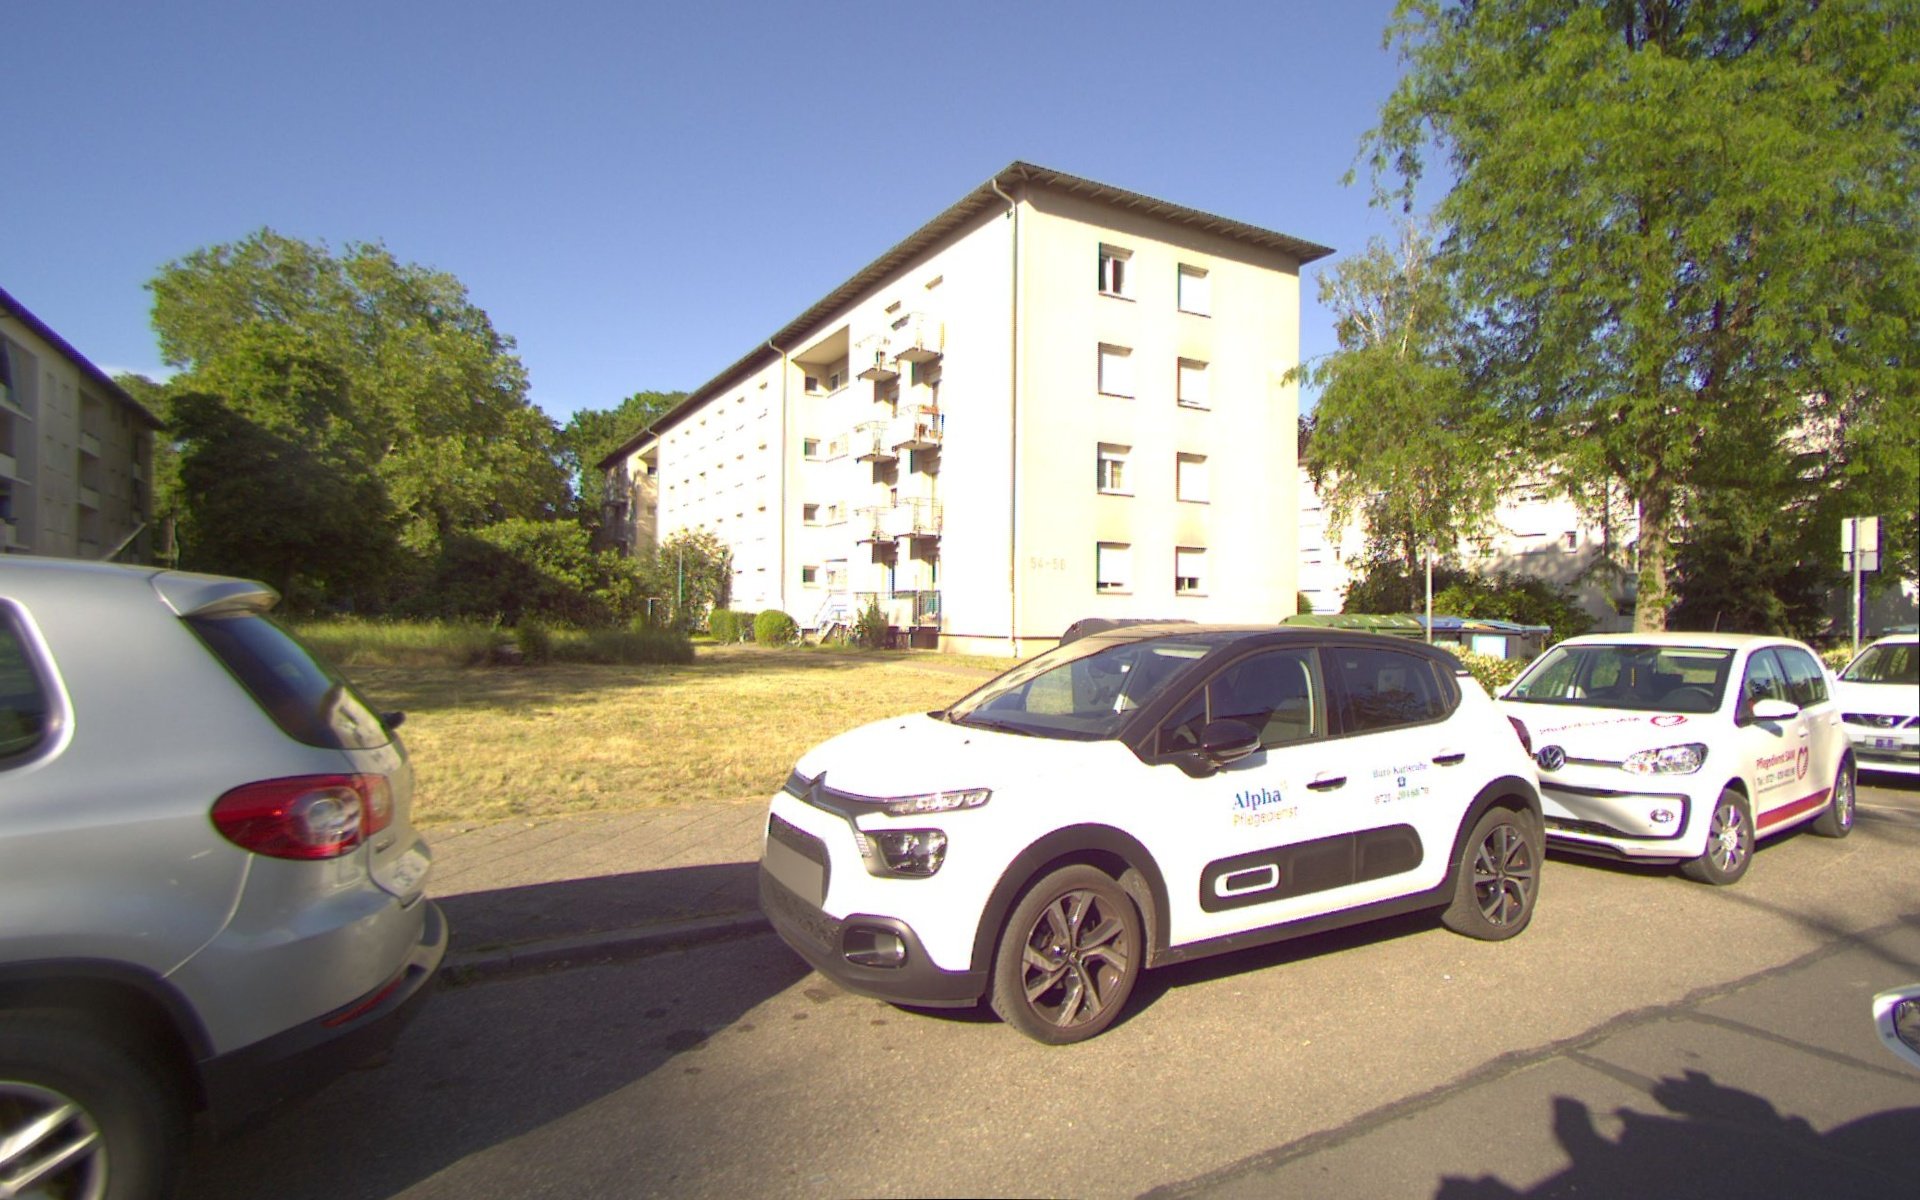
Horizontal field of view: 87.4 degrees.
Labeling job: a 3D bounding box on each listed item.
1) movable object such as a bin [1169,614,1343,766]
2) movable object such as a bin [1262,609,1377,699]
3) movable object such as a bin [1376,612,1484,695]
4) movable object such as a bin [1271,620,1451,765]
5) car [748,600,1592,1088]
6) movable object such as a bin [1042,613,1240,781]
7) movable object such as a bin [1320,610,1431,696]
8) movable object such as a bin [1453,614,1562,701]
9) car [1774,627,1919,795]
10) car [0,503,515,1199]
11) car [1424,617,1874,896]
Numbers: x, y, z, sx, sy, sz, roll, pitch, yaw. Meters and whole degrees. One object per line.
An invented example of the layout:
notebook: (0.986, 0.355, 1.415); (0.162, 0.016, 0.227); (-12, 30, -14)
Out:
movable object such as a bin: (2.998, 0.867, 10.242); (1.228, 1.376, 1.131); (1, 2, -29)
movable object such as a bin: (6.235, 0.914, 17.451); (1.444, 1.440, 1.172); (1, 2, -28)
movable object such as a bin: (8.854, 0.975, 18.930); (1.444, 1.440, 1.172); (1, 2, -28)
movable object such as a bin: (4.235, 0.927, 10.659); (1.327, 1.358, 1.172); (1, 2, -29)
car: (1.118, 0.822, 4.865); (3.898, 1.533, 1.655); (1, -2, -30)
movable object such as a bin: (1.699, 0.858, 9.513); (1.424, 1.401, 1.131); (1, 2, -29)
movable object such as a bin: (7.531, 0.938, 18.218); (1.444, 1.440, 1.172); (1, 2, -28)
movable object such as a bin: (9.794, 0.995, 18.000); (1.344, 1.440, 1.129); (1, 2, -29)
car: (10.410, 1.072, 10.562); (3.846, 1.555, 1.678); (1, -2, -31)
car: (-3.393, 0.646, 2.135); (4.298, 1.661, 1.894); (1, -2, -31)
car: (5.071, 0.916, 7.269); (3.505, 1.533, 1.651); (1, -2, -37)
